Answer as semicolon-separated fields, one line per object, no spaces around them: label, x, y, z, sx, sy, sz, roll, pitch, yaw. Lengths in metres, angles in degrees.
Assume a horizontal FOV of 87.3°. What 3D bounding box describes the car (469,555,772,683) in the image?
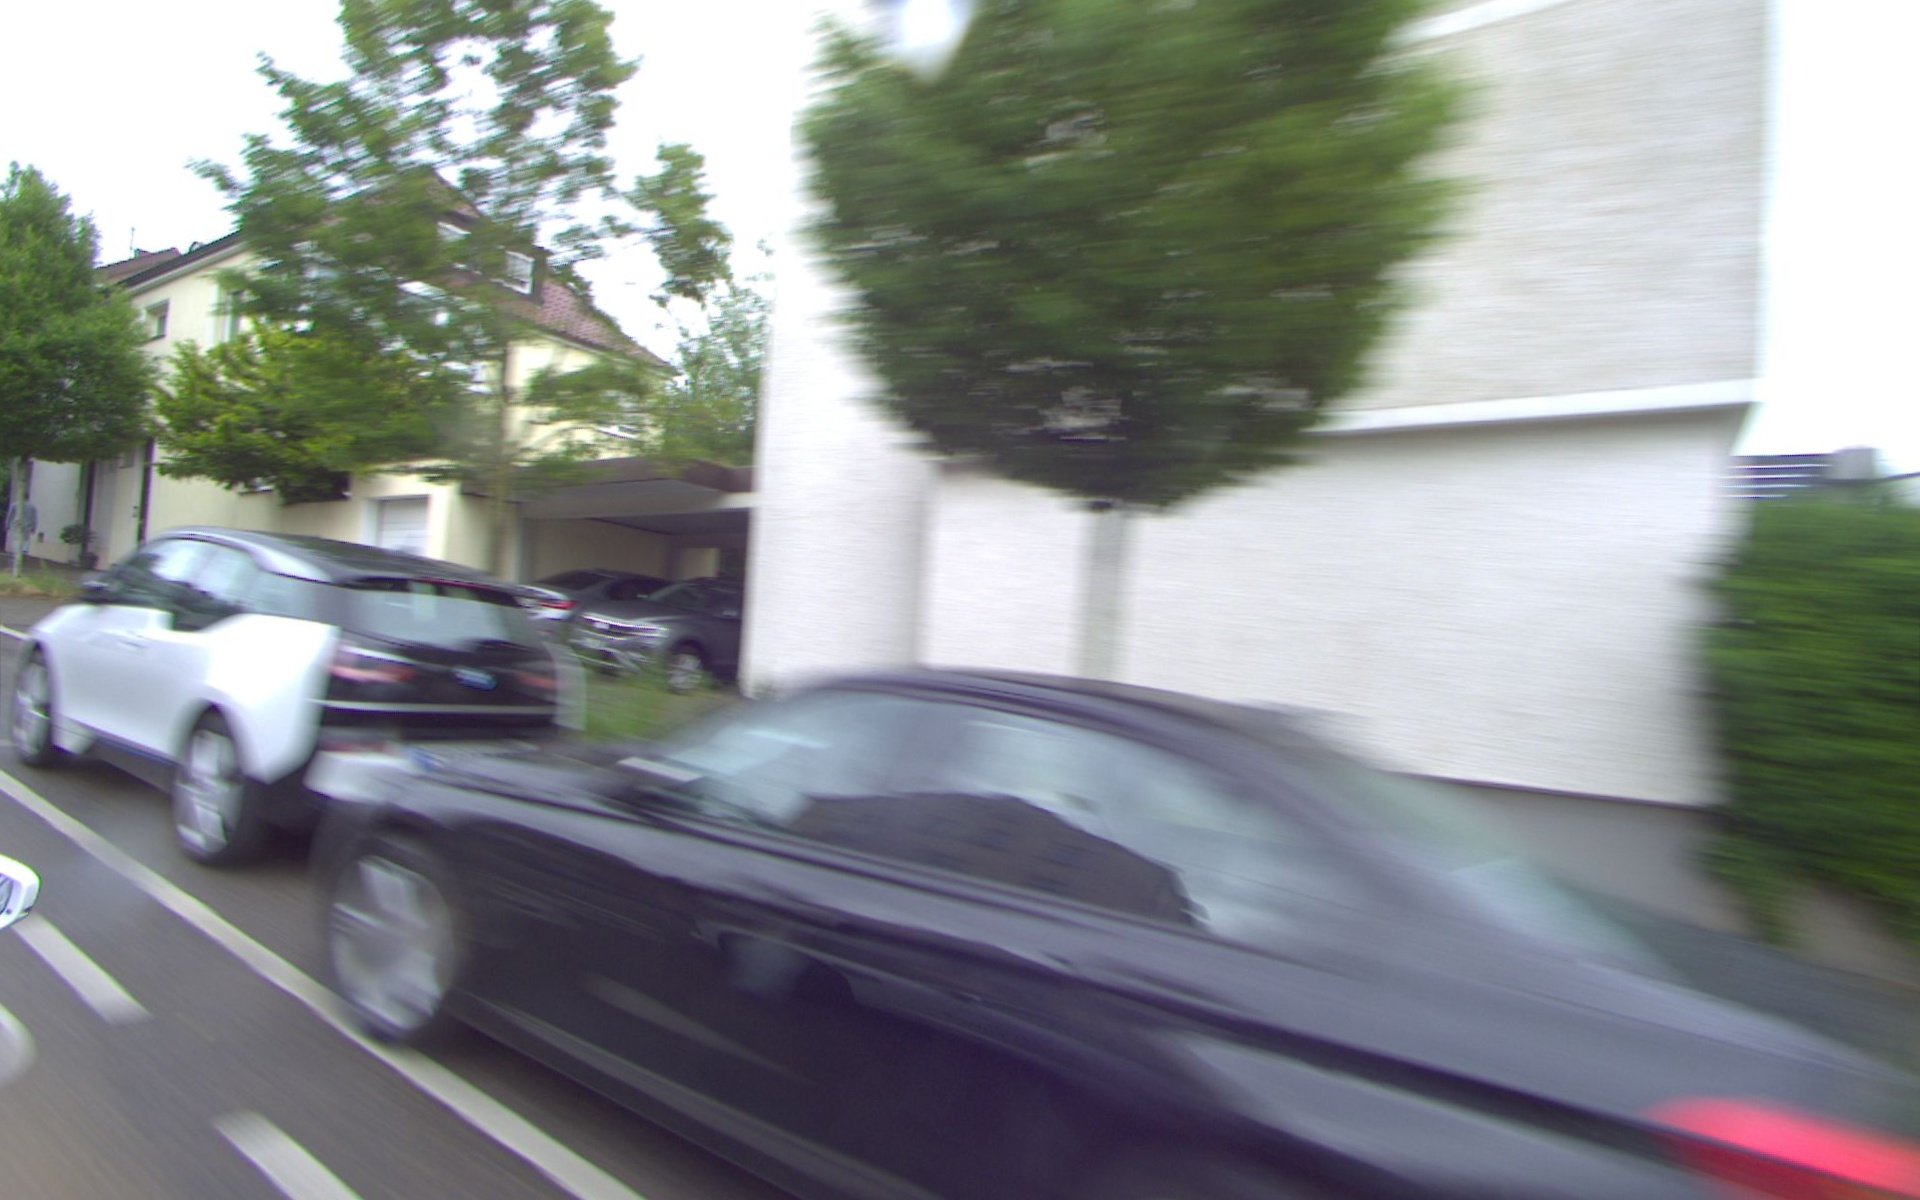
car;-5.305;0.385;16.280;1.801;1.497;4.303;7;-2;35

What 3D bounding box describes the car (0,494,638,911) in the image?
car;-4.070;0.411;6.040;4.052;1.625;1.733;6;-3;33

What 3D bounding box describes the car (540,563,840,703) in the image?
car;-3.655;0.530;14.188;1.754;1.524;3.704;7;-1;35

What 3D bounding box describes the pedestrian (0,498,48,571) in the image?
pedestrian;-23.260;-1.621;24.855;1.028;1.708;0.832;7;2;36

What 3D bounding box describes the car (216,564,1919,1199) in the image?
car;-0.037;0.910;3.038;4.800;1.455;1.782;6;-2;32
